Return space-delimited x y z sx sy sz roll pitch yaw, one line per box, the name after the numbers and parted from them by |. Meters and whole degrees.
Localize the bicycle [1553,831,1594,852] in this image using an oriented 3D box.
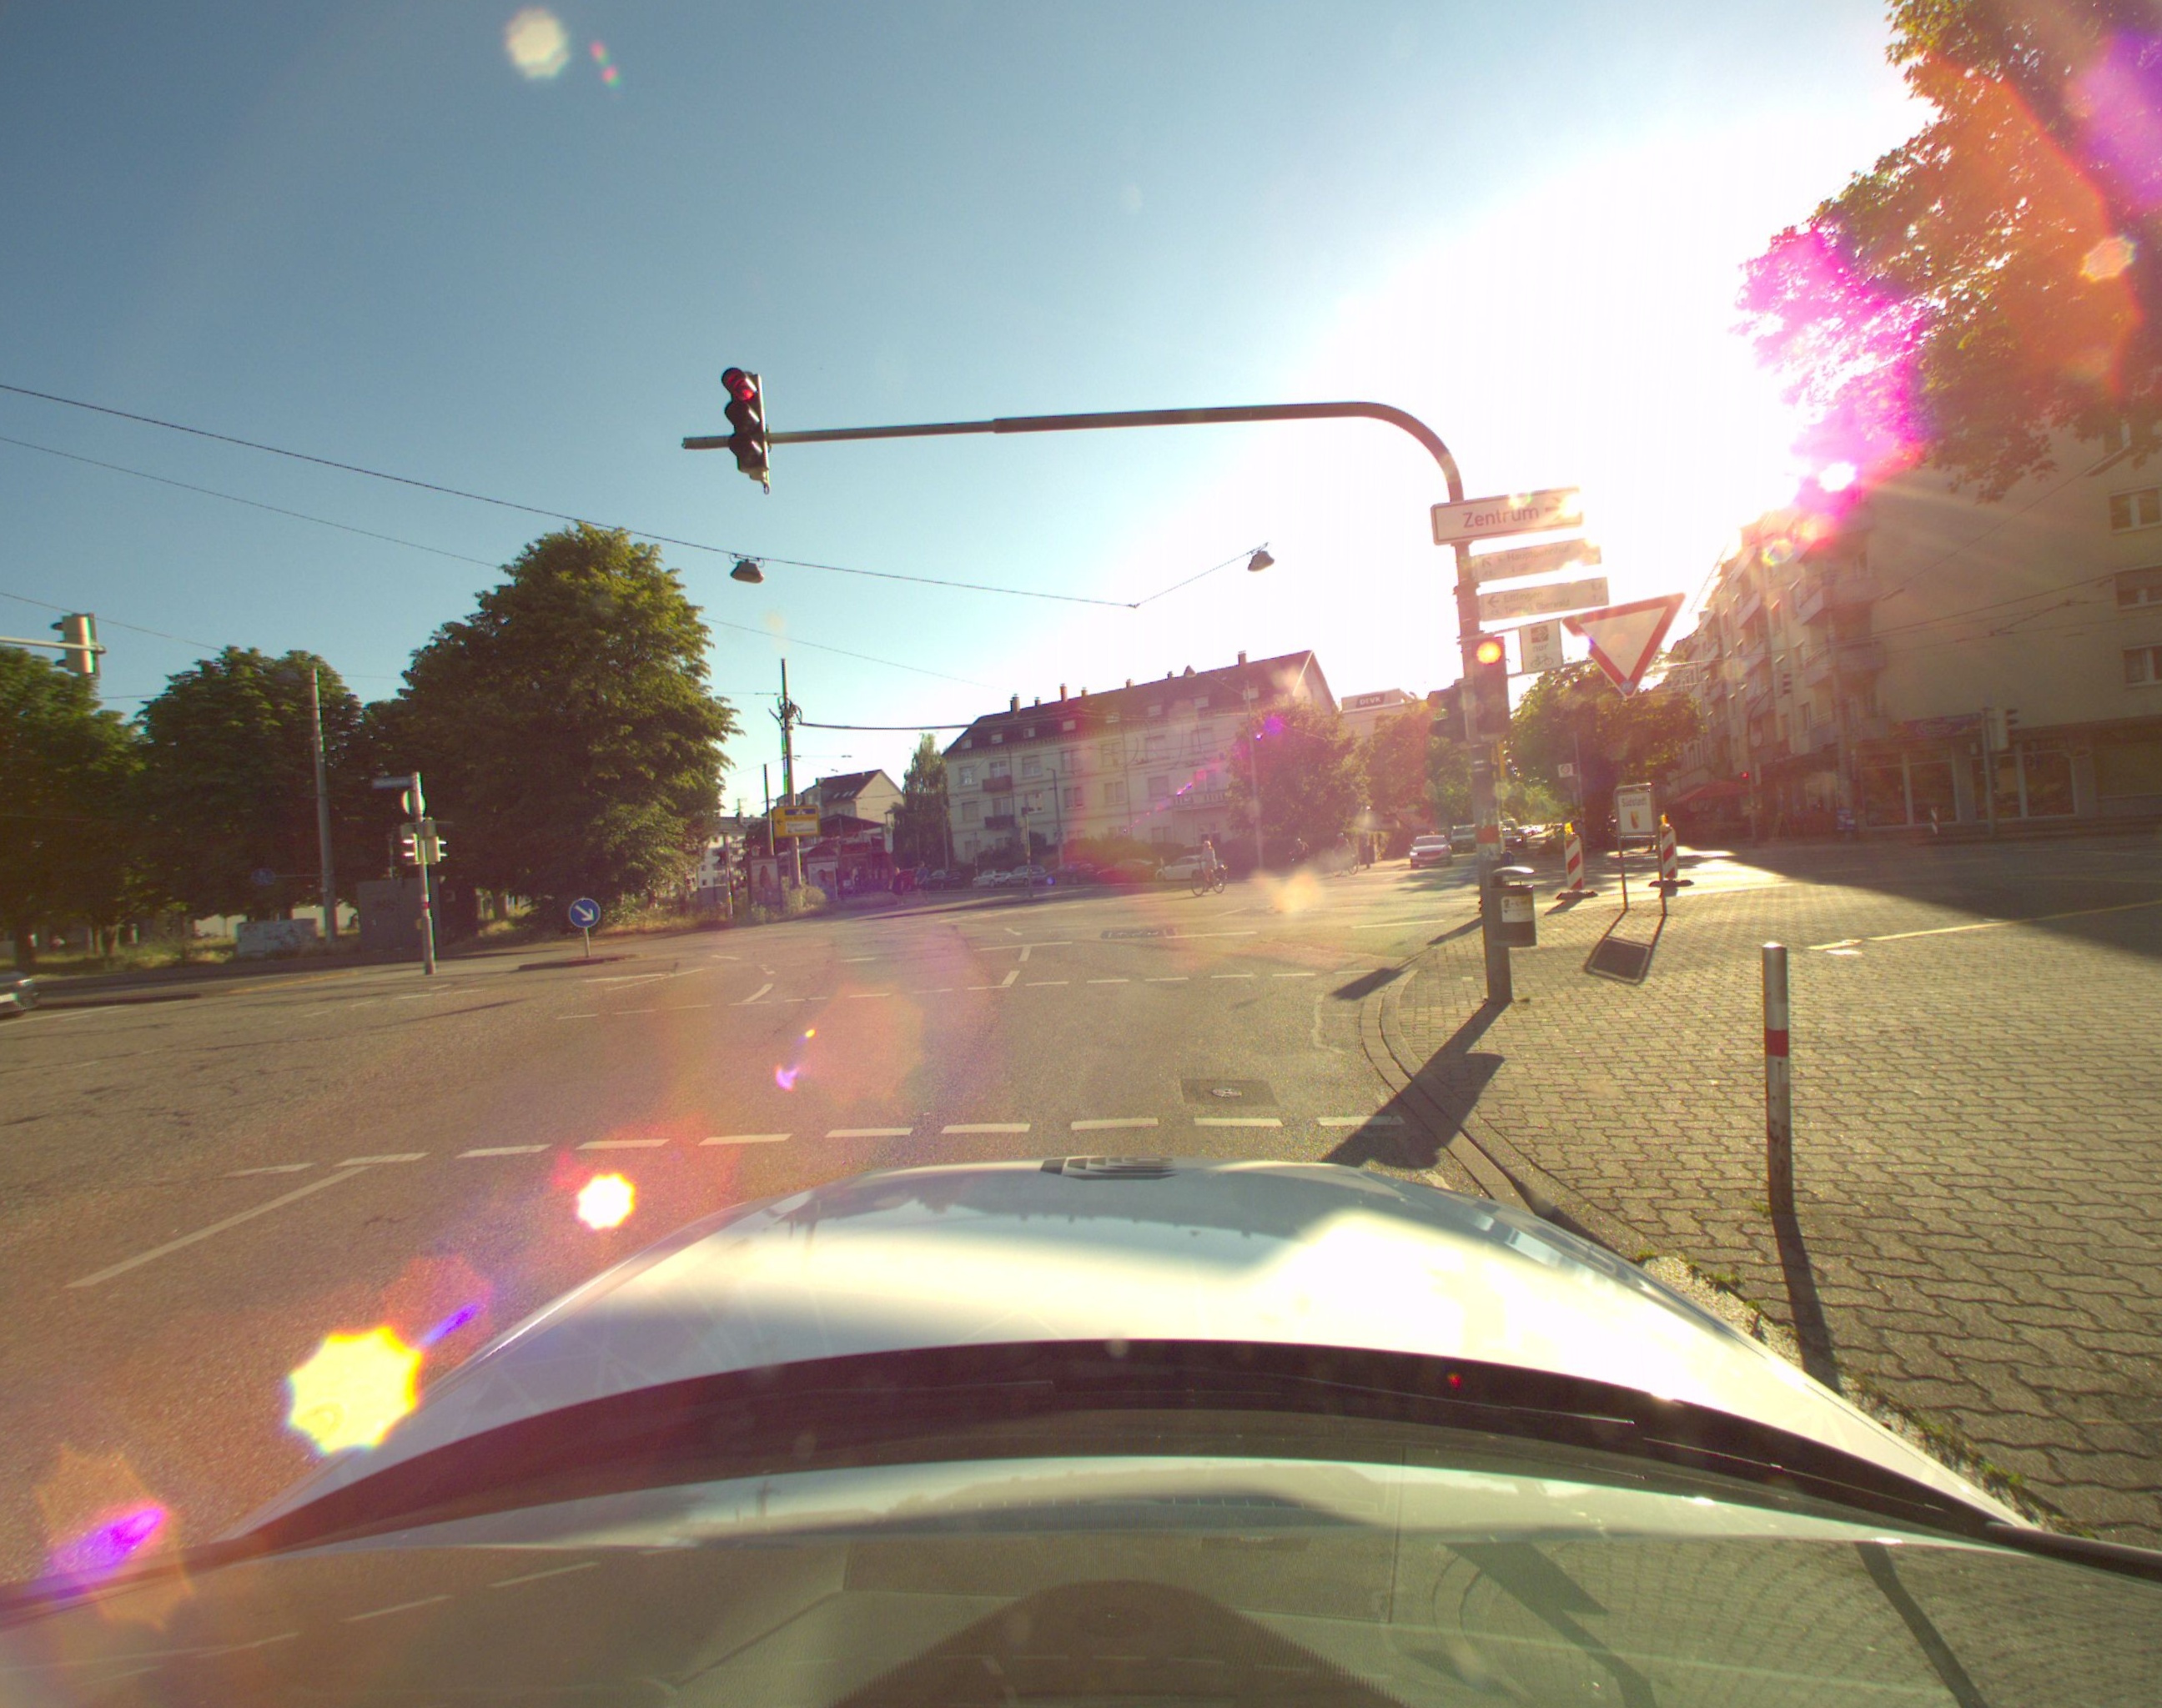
24.922 -0.640 41.202 1.707 0.932 0.676 -5 -1 31 | bicycle

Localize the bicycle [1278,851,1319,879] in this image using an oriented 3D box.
9.338 0.458 34.866 2.031 1.069 0.655 -4 -1 -43 | bicycle

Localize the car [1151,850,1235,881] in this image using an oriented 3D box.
6.273 0.672 46.130 1.941 1.376 4.443 -7 1 -40 | car

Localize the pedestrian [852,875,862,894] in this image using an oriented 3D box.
-18.459 2.547 67.054 0.569 1.500 0.672 -4 -1 -27 | pedestrian

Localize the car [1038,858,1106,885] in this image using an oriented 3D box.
-0.666 1.195 54.802 1.998 1.447 4.650 -7 1 -39 | car

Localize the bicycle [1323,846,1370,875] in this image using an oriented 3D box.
10.931 0.256 33.498 2.027 1.069 0.656 -4 -1 -34 | bicycle

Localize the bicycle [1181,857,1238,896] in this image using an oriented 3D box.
4.095 0.701 25.865 2.031 1.069 0.655 -4 -1 -44 | bicycle

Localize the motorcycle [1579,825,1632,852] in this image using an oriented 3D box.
24.971 -0.718 38.808 1.933 1.109 0.842 -5 -1 26 | motorcycle

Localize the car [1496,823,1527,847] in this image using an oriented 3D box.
31.962 -1.452 60.419 1.875 1.564 4.420 -4 0 29 | car

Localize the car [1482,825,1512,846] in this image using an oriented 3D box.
39.720 -1.795 77.673 2.332 1.795 5.343 -5 -1 28 | car

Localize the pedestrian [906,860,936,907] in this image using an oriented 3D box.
-6.924 1.270 35.297 0.908 1.925 1.068 -4 -1 3 | pedestrian

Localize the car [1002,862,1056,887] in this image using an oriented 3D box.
-3.741 1.456 58.121 1.998 1.447 3.676 -7 1 -39 | car

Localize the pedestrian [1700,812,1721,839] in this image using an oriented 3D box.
34.058 -1.526 44.066 0.803 1.362 0.920 -5 -1 36 | pedestrian

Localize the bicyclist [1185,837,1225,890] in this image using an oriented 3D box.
3.931 0.293 25.866 0.862 1.605 0.768 -4 -1 -41 | bicyclist

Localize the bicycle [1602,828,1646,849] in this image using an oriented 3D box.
26.871 -0.772 40.326 1.707 0.932 0.565 -5 -1 31 | bicycle

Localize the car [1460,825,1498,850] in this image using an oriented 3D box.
31.695 -1.337 64.754 2.332 1.795 5.343 -5 -1 28 | car

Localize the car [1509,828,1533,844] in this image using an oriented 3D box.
56.651 -2.356 104.847 2.332 1.795 5.344 -5 -1 32 | car

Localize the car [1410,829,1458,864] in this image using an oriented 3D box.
16.066 -0.321 37.194 1.874 1.486 4.021 -1 -1 22 | car

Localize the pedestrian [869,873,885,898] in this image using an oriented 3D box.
-16.525 2.544 66.060 0.928 2.013 0.761 -4 0 -34 | pedestrian

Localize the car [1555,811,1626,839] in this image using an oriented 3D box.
44.685 -2.512 71.621 5.042 1.924 2.377 -5 -2 28 | car

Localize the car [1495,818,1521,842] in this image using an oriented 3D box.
47.951 -2.700 91.348 2.332 2.514 5.343 -5 -1 28 | car

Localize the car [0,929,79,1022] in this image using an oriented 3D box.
-21.392 2.367 14.637 4.415 1.567 2.057 -4 0 5 | car

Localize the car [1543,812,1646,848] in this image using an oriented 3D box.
34.256 -1.545 54.550 5.567 1.924 2.377 -5 -2 28 | car

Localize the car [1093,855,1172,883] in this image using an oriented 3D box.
3.127 0.942 50.201 1.999 1.376 4.647 -7 1 -44 | car

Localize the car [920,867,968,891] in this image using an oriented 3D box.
-11.403 2.072 67.634 1.855 1.667 4.319 -7 1 -39 | car

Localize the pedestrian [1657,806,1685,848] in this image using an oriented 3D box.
25.986 -1.185 35.863 0.799 1.750 0.685 -4 -1 -38 | pedestrian

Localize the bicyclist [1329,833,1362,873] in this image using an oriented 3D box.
10.849 -0.049 33.445 1.041 1.532 0.691 -4 -1 -34 | bicyclist

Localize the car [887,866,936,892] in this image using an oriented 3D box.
-15.200 2.230 72.768 2.067 1.961 5.091 -7 1 -39 | car

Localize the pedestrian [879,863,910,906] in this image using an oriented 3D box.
-7.944 1.273 34.708 0.908 1.747 1.068 -4 -1 3 | pedestrian

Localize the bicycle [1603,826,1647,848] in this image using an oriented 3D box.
26.473 -0.819 39.662 1.707 0.932 0.565 -5 -1 31 | bicycle

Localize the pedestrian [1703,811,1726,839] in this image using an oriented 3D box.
33.378 -1.530 42.912 0.803 1.362 0.920 -5 -1 36 | pedestrian

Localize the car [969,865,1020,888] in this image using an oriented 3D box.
-6.584 1.727 61.682 1.855 1.447 3.912 -7 1 -39 | car

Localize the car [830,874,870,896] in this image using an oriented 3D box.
-23.841 3.191 83.953 2.067 1.961 5.091 -7 1 -39 | car

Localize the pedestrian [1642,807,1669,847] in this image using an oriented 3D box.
25.977 -1.229 36.817 0.799 1.750 0.710 -4 -1 -38 | pedestrian

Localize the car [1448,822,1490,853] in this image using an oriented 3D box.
28.391 -1.234 59.449 2.332 2.013 5.343 -5 -1 28 | car

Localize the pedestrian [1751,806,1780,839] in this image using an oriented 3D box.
33.854 -1.554 40.299 0.804 1.544 0.919 -5 -1 25 | pedestrian

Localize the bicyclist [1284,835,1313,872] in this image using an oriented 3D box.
9.316 -0.025 34.886 1.043 1.532 0.652 -4 -1 -43 | bicyclist
